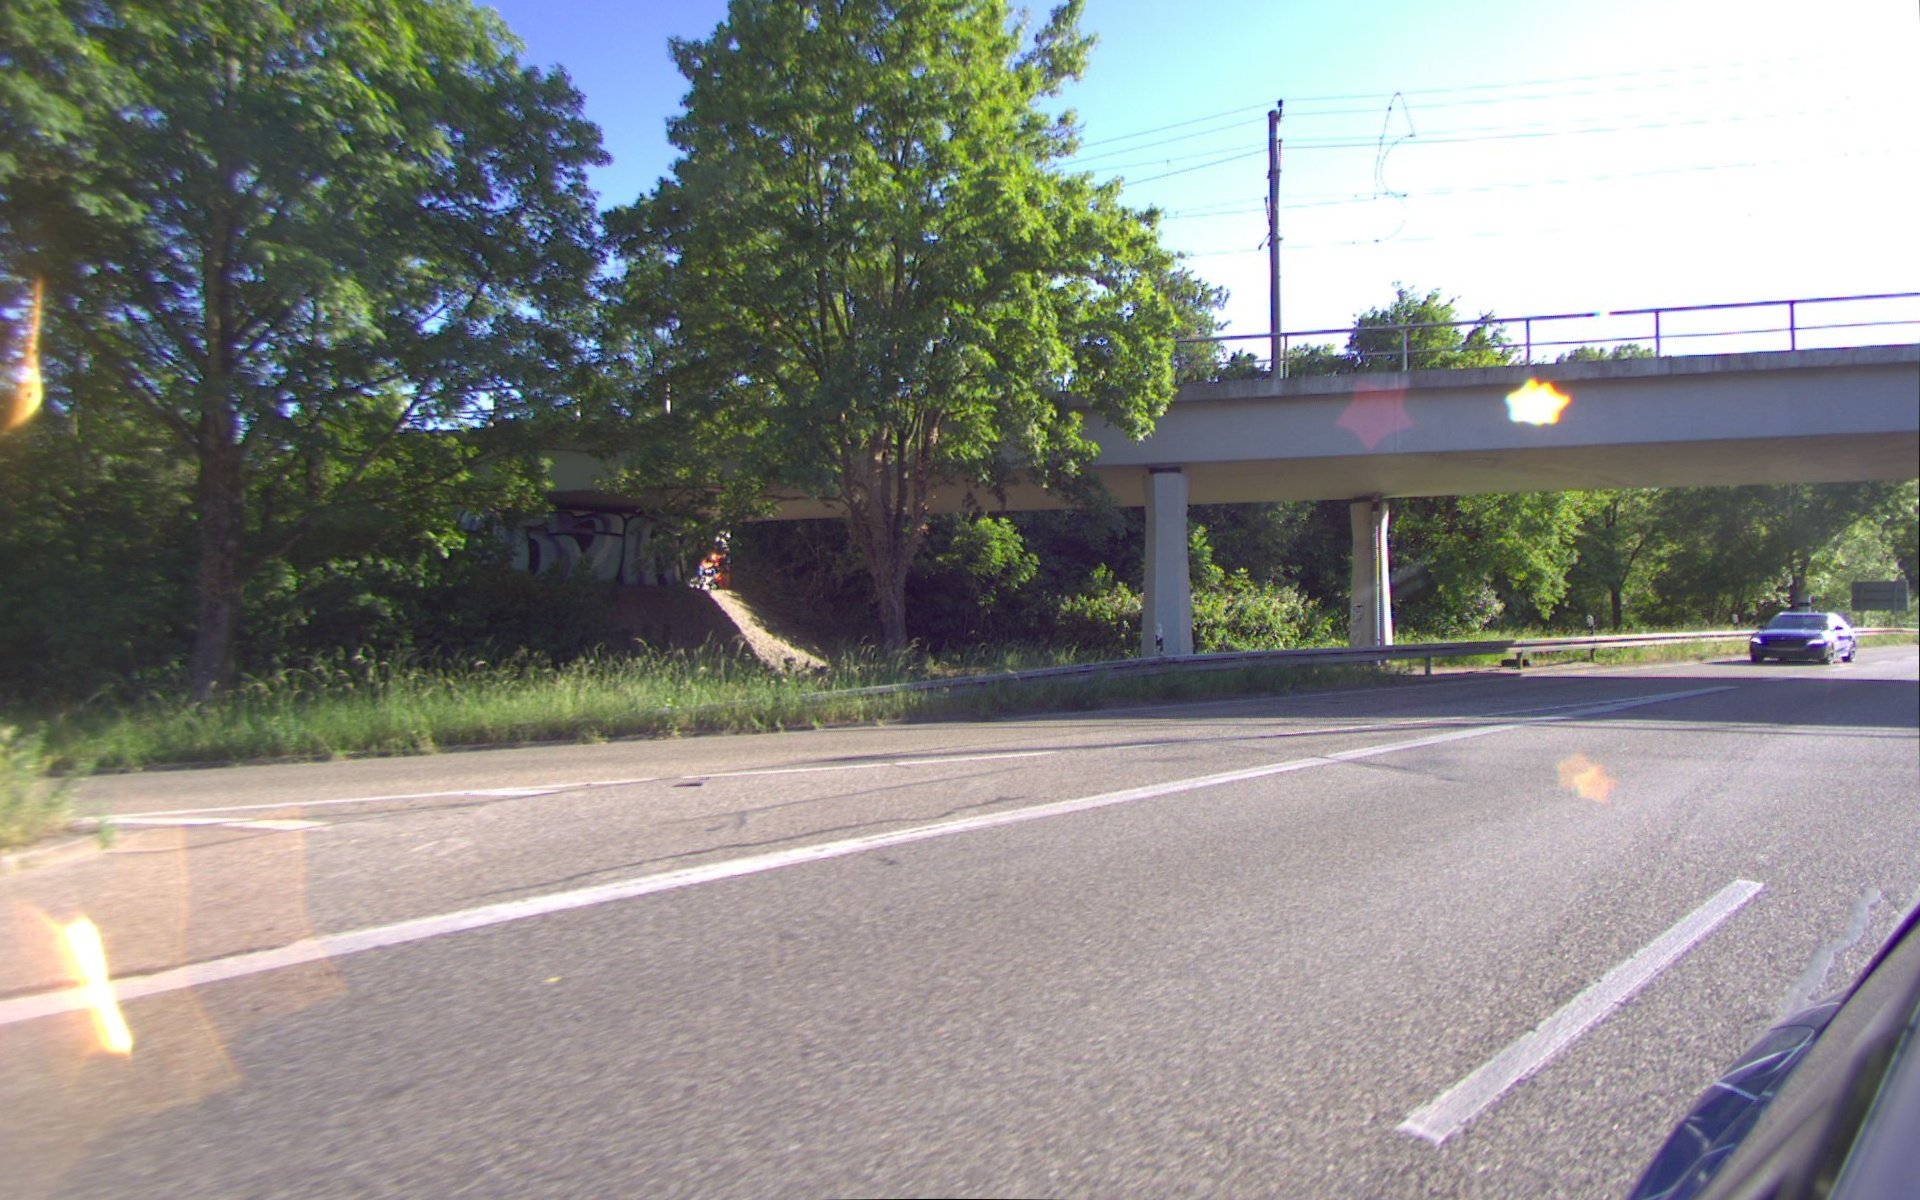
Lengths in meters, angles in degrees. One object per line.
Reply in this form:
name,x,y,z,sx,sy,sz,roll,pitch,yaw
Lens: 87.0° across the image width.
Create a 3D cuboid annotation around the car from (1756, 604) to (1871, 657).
car,24.530,0.841,29.049,3.981,1.427,1.763,1,-1,-38
